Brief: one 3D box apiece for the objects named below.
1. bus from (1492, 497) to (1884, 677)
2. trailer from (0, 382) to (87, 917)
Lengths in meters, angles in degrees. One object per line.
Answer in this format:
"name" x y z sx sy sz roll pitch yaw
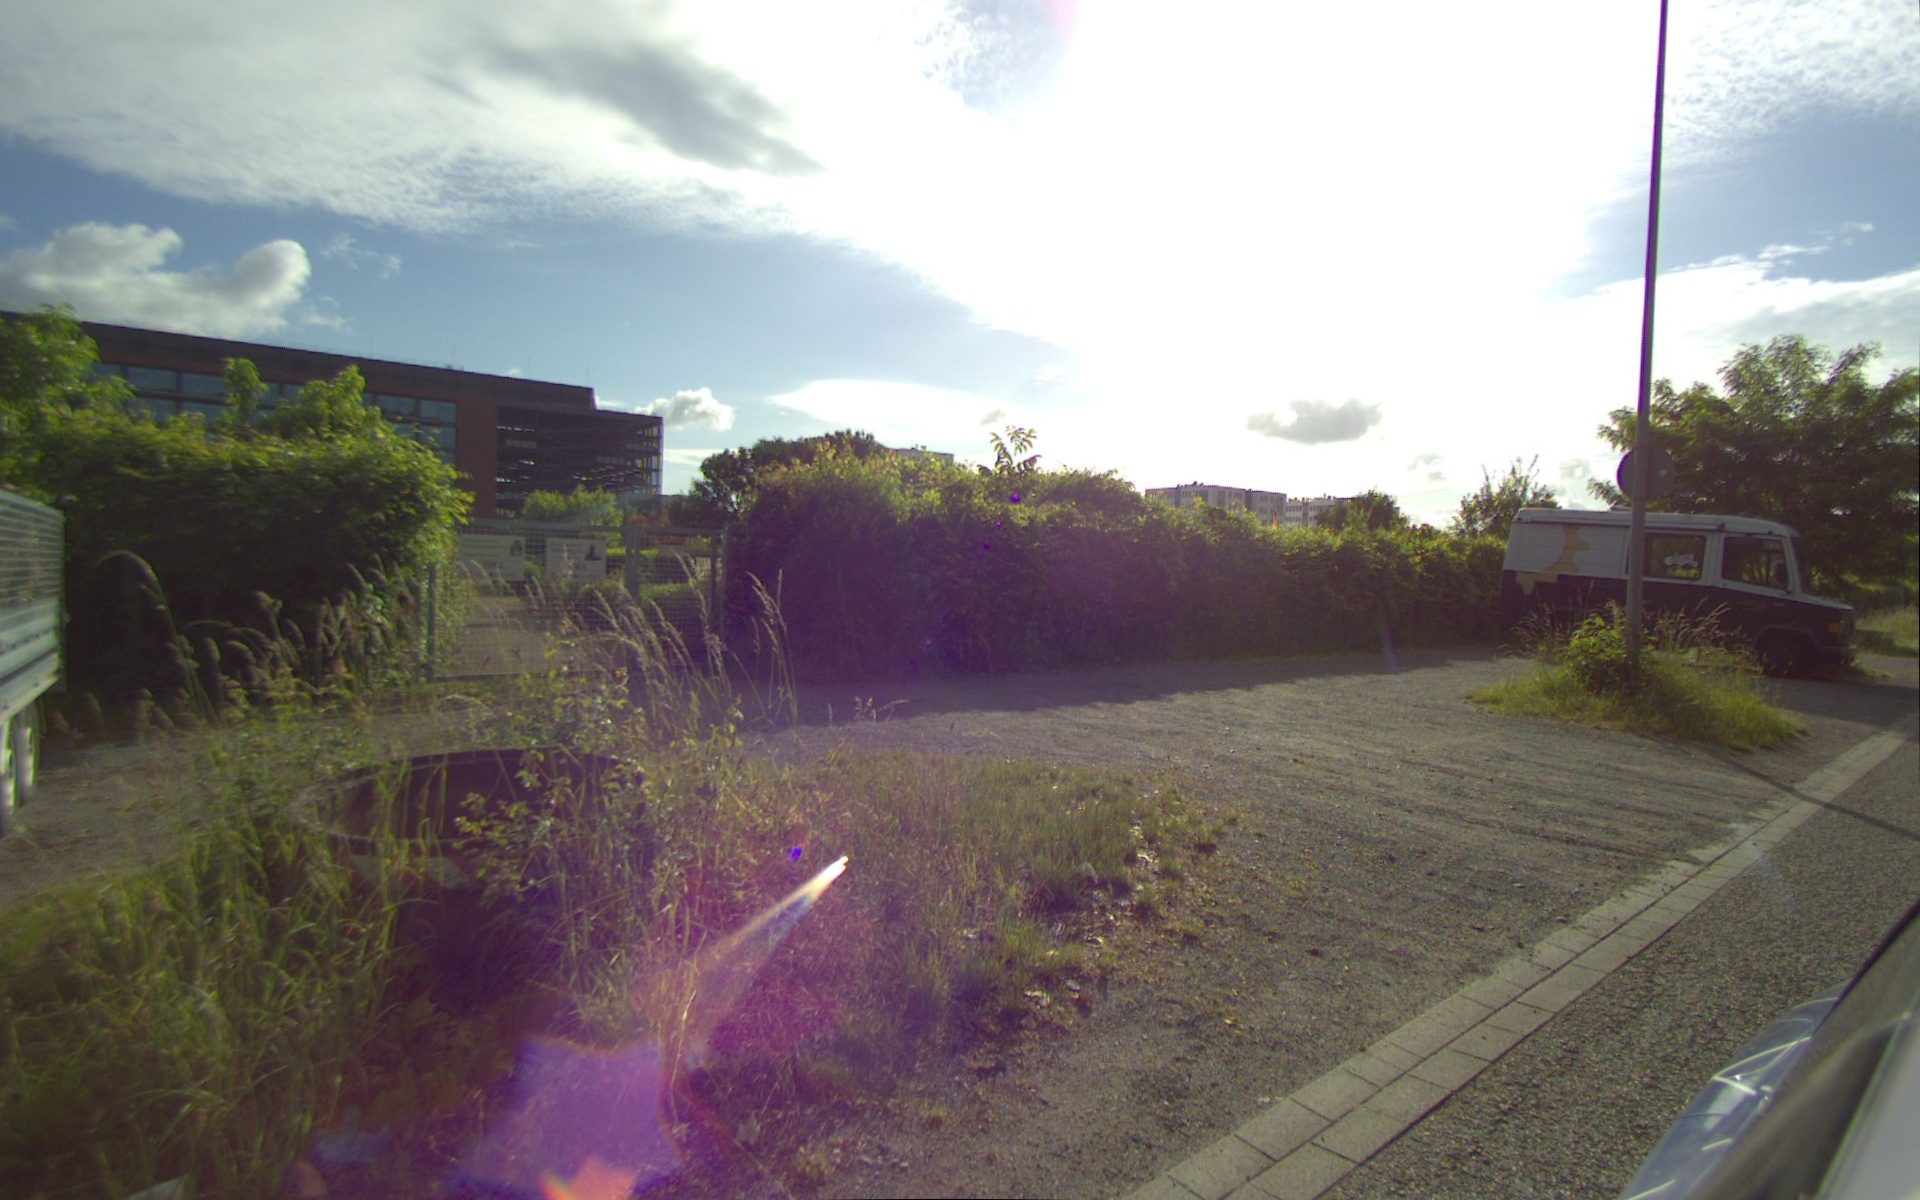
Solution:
"bus" 12.917 -0.344 18.298 2.034 2.780 5.373 1 2 -43
"trailer" -4.563 0.135 3.603 1.880 1.857 4.166 0 3 -37
